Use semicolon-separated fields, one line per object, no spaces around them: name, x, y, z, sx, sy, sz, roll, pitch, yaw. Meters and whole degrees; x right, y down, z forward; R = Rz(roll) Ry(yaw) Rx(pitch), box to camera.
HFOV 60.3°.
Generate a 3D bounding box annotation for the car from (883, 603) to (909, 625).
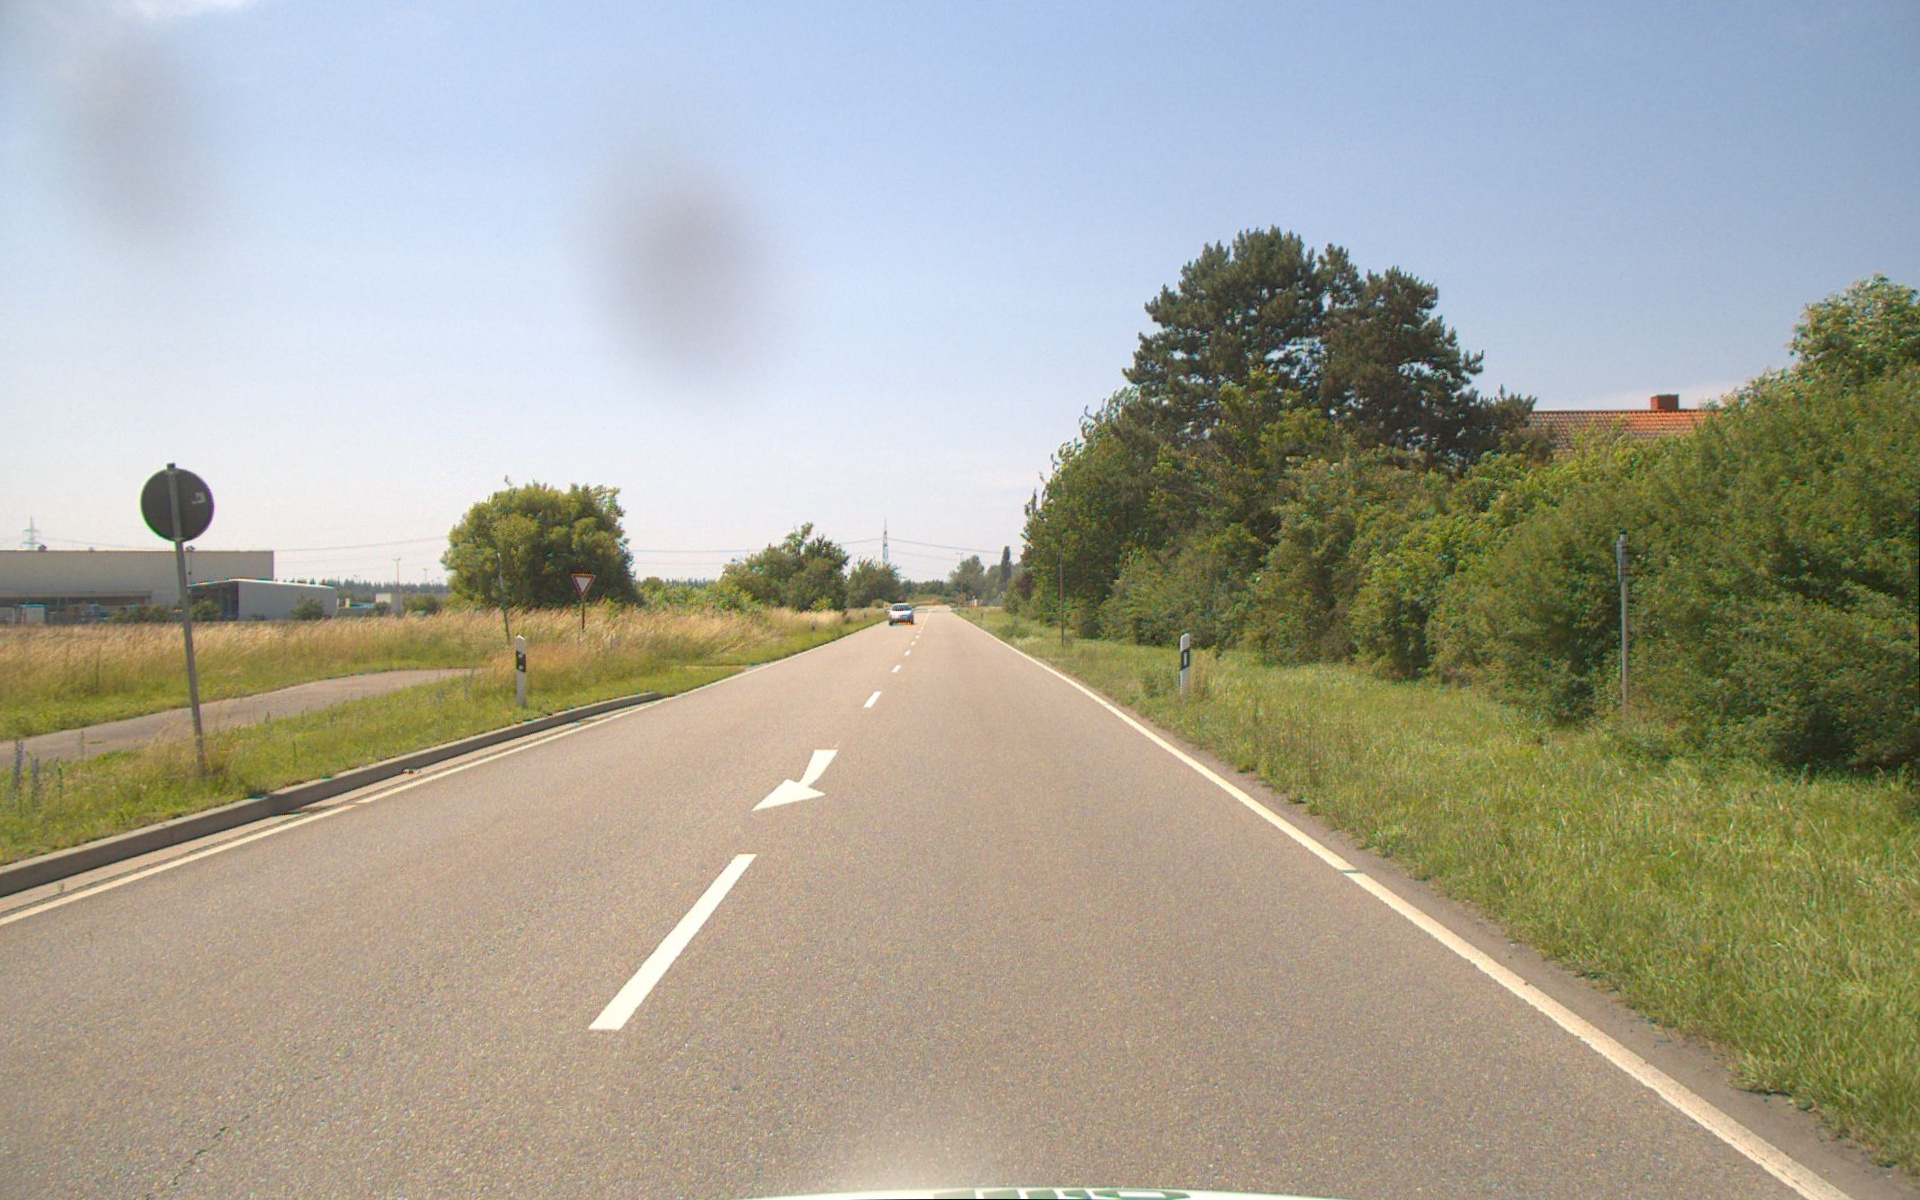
car;-4.517;0.971;117.111;1.644;1.446;4.421;-3;0;-1
